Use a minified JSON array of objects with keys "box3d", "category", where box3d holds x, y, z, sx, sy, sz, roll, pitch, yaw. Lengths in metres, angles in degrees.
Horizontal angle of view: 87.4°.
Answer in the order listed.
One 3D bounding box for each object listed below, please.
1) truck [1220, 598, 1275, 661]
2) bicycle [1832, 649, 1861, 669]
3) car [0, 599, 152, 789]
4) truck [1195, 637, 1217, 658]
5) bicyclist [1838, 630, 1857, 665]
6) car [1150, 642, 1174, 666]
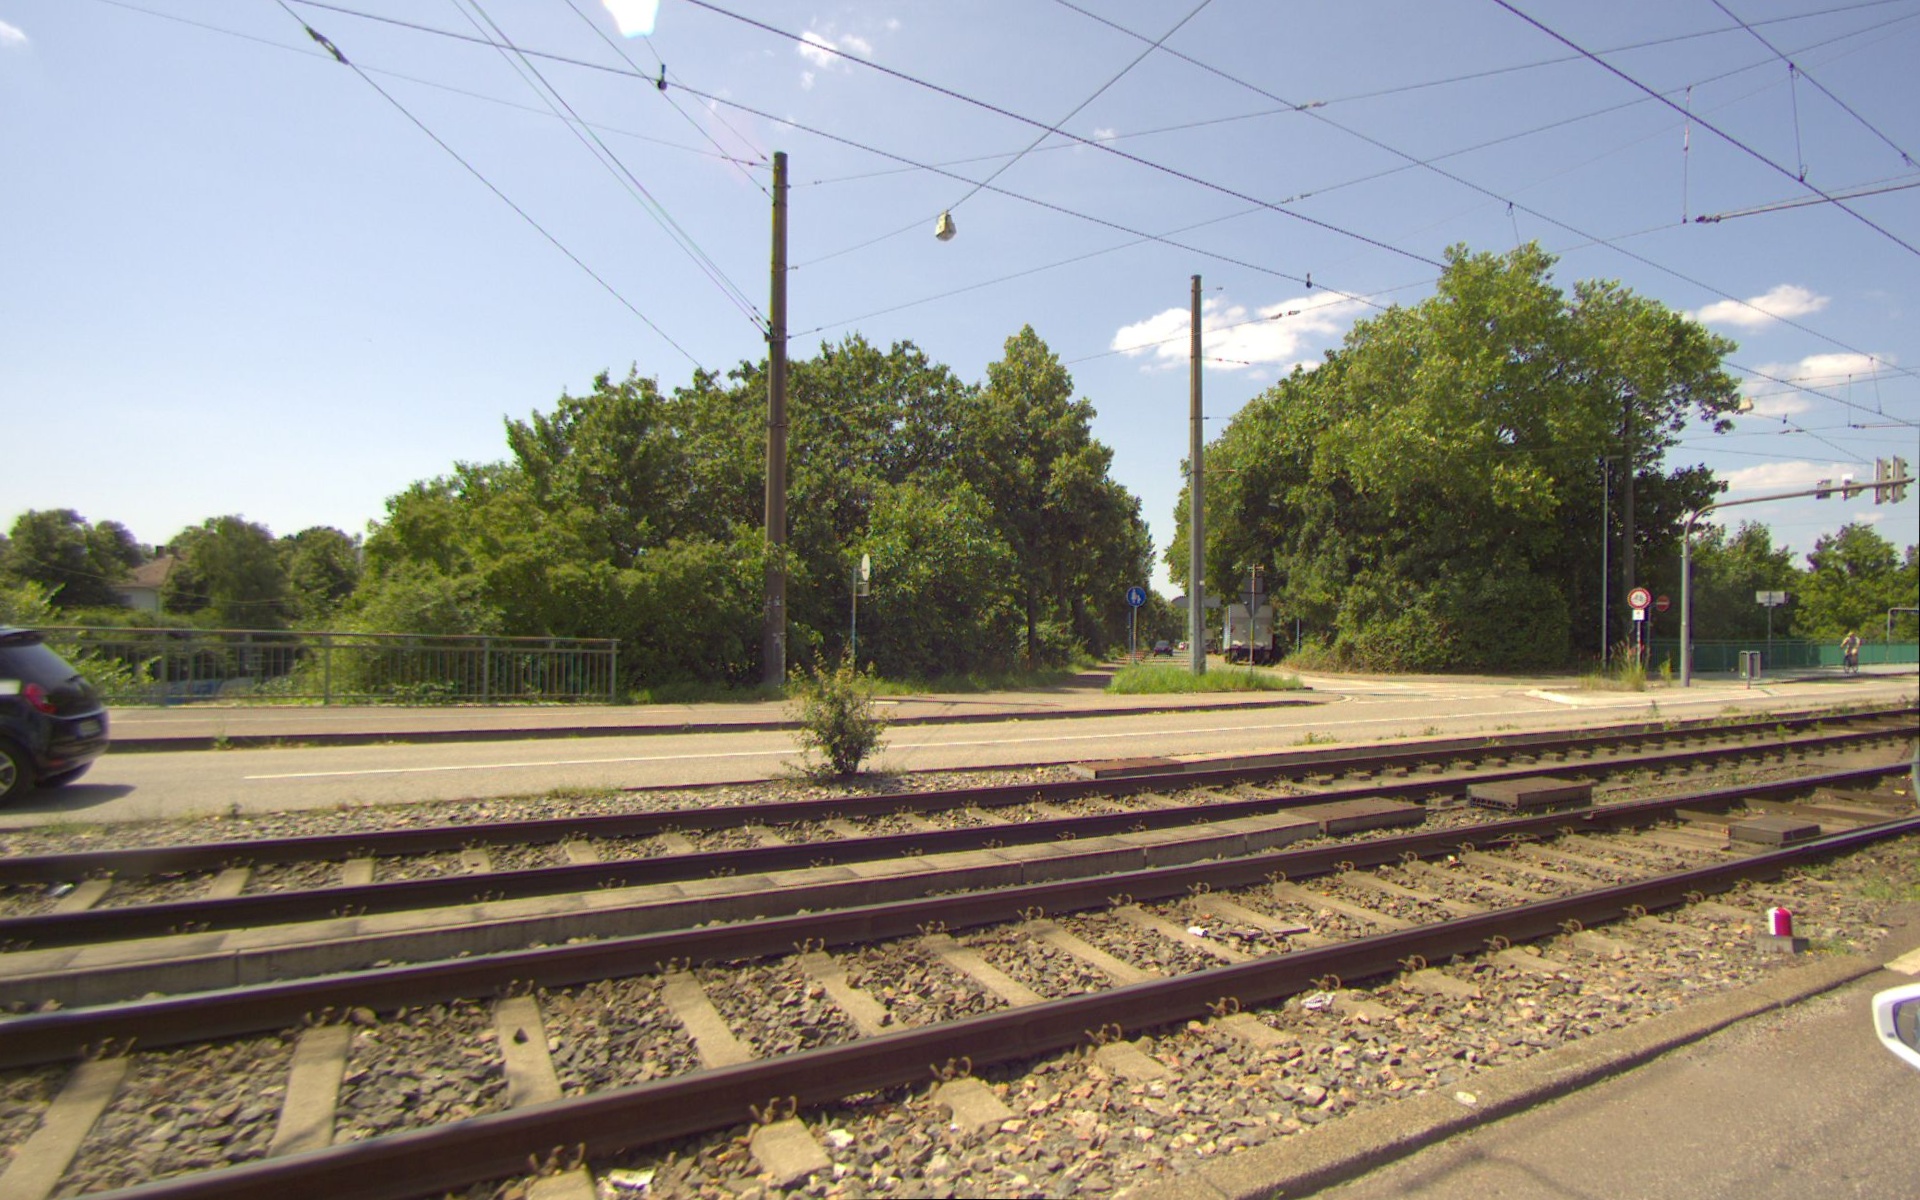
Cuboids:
[{"box3d":[17.917,1.798,62.872,2.790,3.704,5.295,1,-1,11],"category":"truck"},{"box3d":[39.152,2.606,44.353,1.722,0.879,0.466,2,-1,-31],"category":"bicycle"},{"box3d":[-9.223,0.725,8.268,3.687,1.530,1.698,3,-2,-29],"category":"car"},{"box3d":[27.183,5.207,111.094,1.959,2.041,4.002,1,1,7],"category":"truck"},{"box3d":[39.216,2.096,44.388,0.626,1.493,0.454,2,-1,-30],"category":"bicyclist"},{"box3d":[18.791,5.043,93.602,1.959,2.040,4.003,1,-1,8],"category":"car"}]
